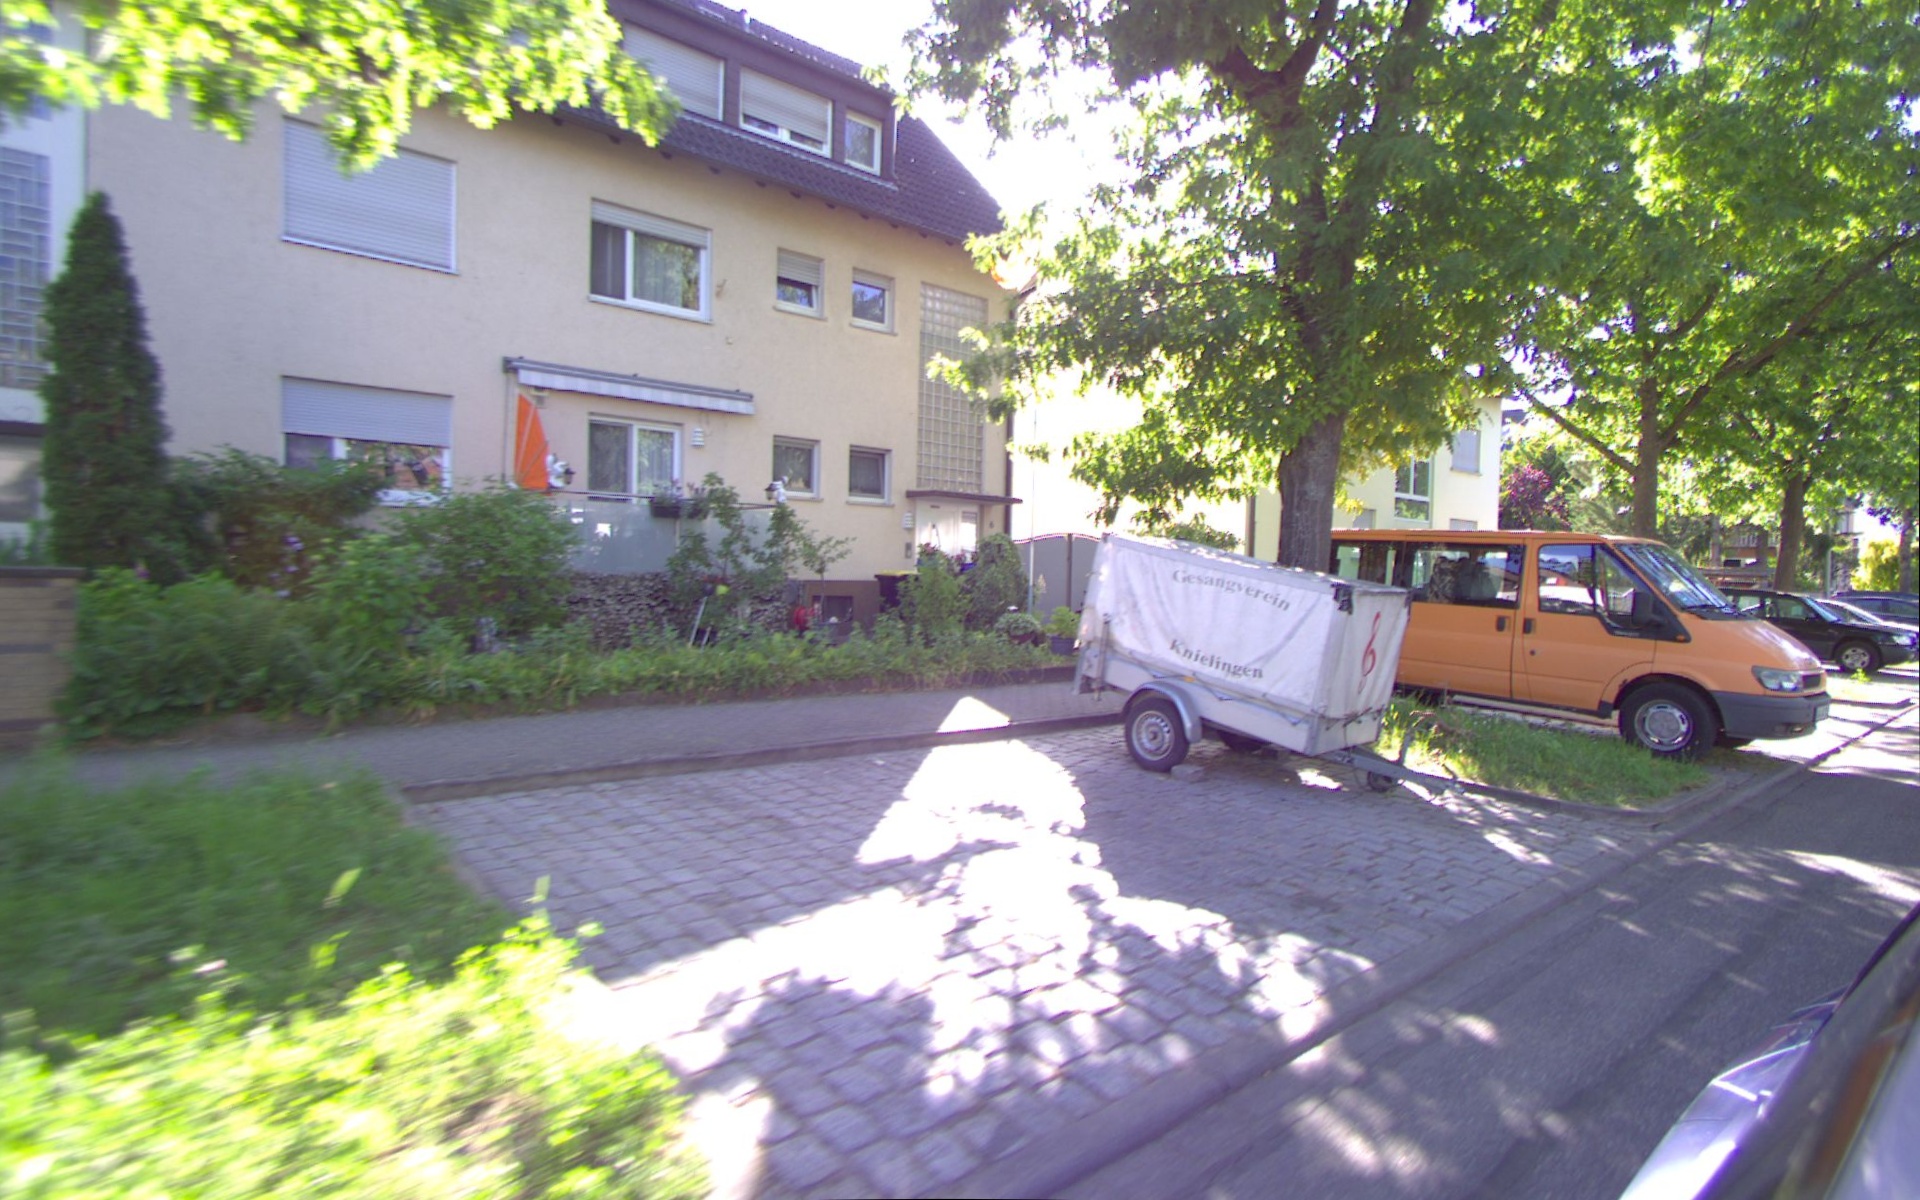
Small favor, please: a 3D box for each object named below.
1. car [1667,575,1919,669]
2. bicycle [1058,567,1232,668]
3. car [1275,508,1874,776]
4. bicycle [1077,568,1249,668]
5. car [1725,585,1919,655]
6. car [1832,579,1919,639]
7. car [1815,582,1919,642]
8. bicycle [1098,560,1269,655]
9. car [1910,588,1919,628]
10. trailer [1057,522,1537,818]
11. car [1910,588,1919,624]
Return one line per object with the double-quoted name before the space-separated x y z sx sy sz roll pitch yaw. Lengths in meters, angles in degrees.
"car" 17.667 0.383 21.156 1.835 1.579 4.348 0 4 -40
"bicycle" 2.643 0.199 14.932 0.459 1.252 2.866 0 4 -39
"car" 5.987 0.182 10.463 2.049 2.108 4.831 0 3 -40
"bicycle" 2.986 0.210 15.285 0.459 1.252 2.867 -1 5 -39
"car" 21.487 0.462 24.477 1.659 1.347 4.443 0 4 -37
"car" 29.599 0.337 30.606 1.805 1.666 4.586 0 4 -39
"car" 27.373 0.386 28.817 1.808 1.548 4.331 0 4 -40
"bicycle" 3.358 0.059 15.582 0.459 1.252 2.866 -1 4 -39
"car" 38.381 0.399 37.896 1.723 1.502 3.789 -1 4 -38
"trailer" 2.397 0.320 7.549 2.948 1.684 1.589 6 5 44
"car" 41.760 0.393 40.978 1.804 1.463 4.517 0 4 -38
